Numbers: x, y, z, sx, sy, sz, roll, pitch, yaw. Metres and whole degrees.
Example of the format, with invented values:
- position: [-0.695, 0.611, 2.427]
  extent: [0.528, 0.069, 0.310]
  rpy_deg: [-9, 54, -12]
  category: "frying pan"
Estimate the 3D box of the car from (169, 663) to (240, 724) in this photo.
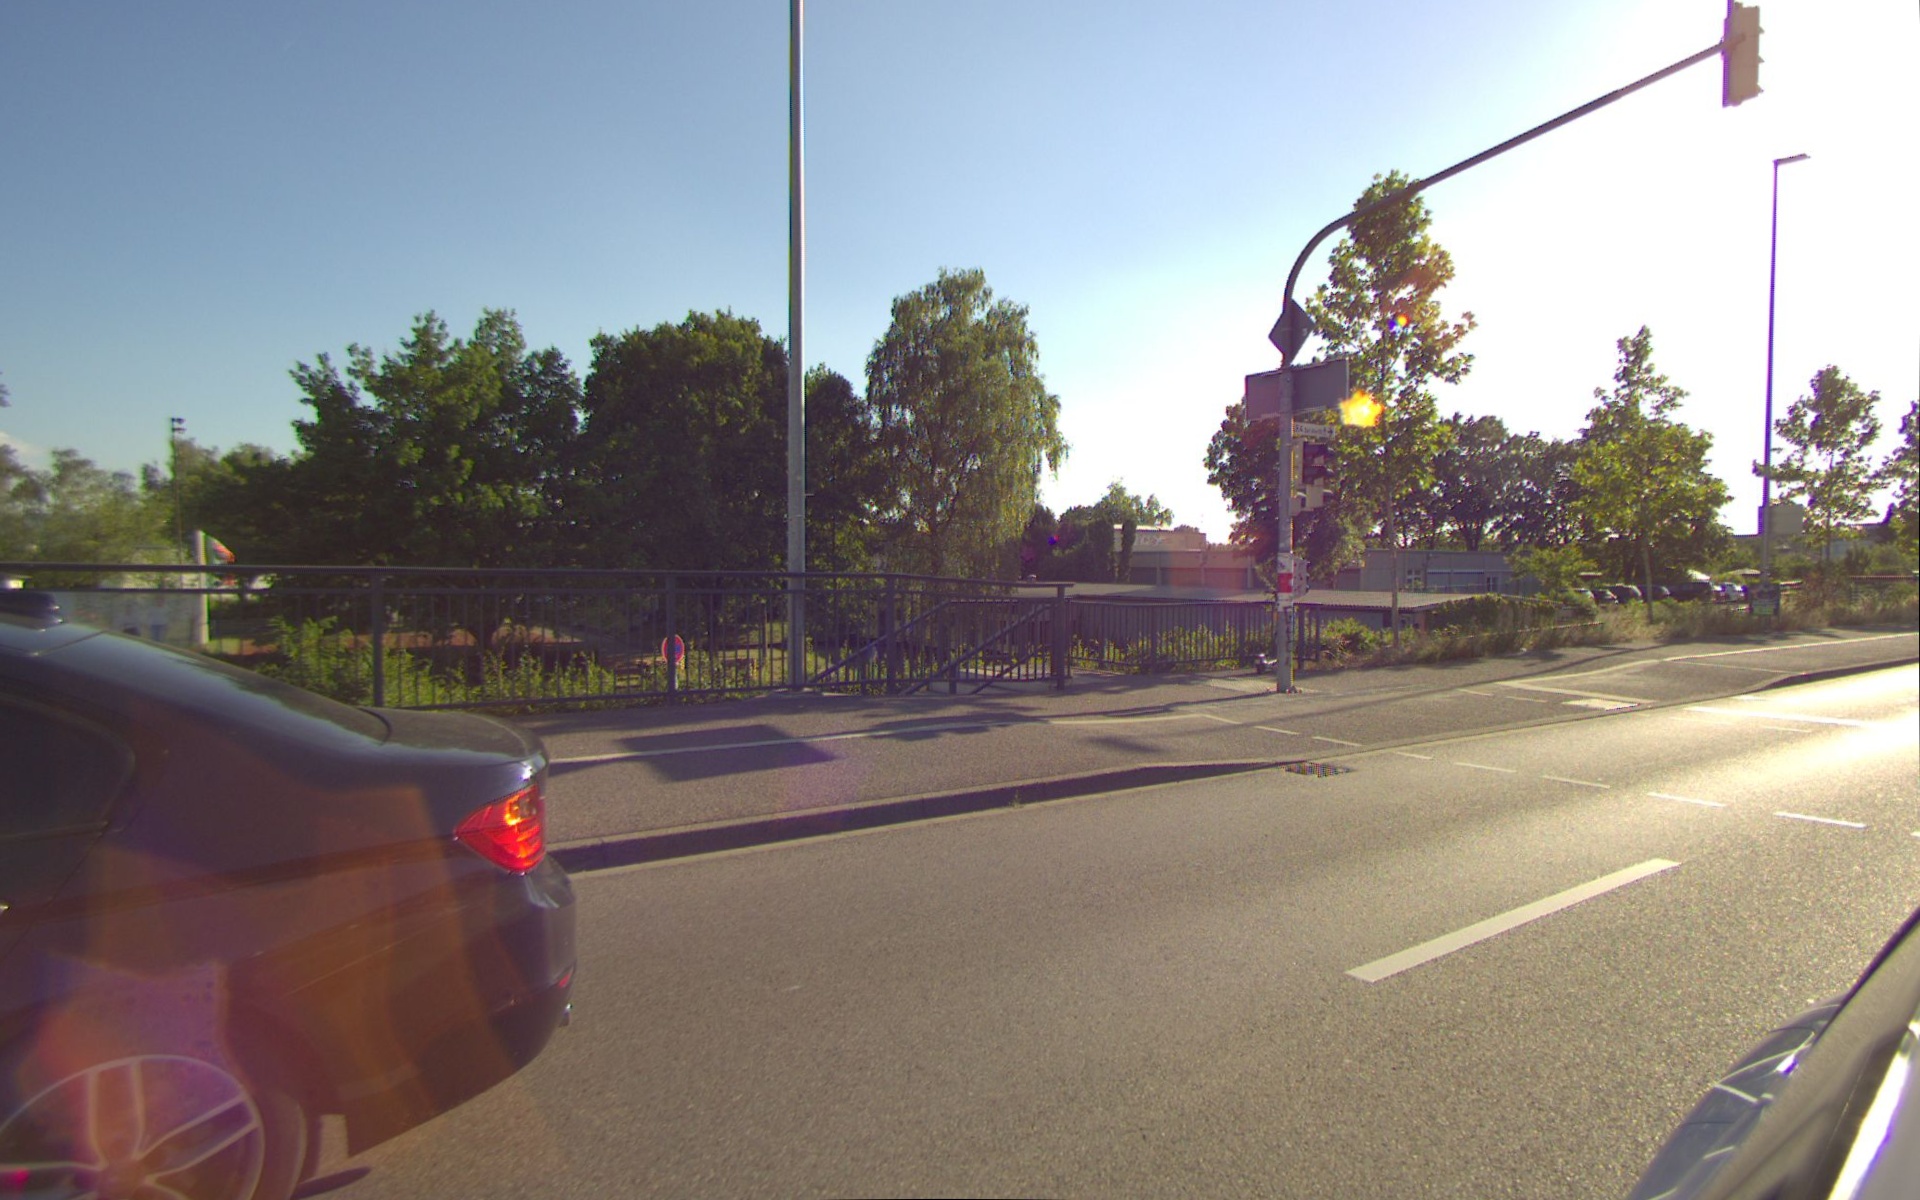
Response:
- position: [-23.384, 2.833, 31.409]
  extent: [1.648, 1.520, 3.704]
  rpy_deg: [-1, 0, -35]
  category: "car"

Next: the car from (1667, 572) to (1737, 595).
- position: [54.972, -1.214, 75.013]
  extent: [1.690, 1.606, 3.840]
  rpy_deg: [0, 0, -35]
  category: "car"

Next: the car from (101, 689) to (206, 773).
- position: [-19.015, 3.015, 23.993]
  extent: [1.718, 1.466, 3.704]
  rpy_deg: [-1, 0, -35]
  category: "car"

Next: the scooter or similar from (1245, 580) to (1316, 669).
- position: [4.758, 0.333, 15.009]
  extent: [0.523, 1.246, 1.247]
  rpy_deg: [2, 3, 42]
  category: "scooter or similar"

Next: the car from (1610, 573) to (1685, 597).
- position: [48.370, -1.045, 71.287]
  extent: [1.654, 1.606, 4.030]
  rpy_deg: [0, 0, -37]
  category: "car"

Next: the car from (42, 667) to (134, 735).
- position: [-25.569, 2.897, 29.797]
  extent: [1.660, 1.590, 3.921]
  rpy_deg: [-1, 0, -35]
  category: "car"

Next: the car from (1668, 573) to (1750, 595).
- position: [57.084, -1.185, 77.215]
  extent: [1.824, 1.589, 4.661]
  rpy_deg: [0, 0, -37]
  category: "car"

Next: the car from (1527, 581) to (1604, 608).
- position: [37.546, -0.374, 62.809]
  extent: [1.698, 1.575, 3.792]
  rpy_deg: [-4, 3, -38]
  category: "car"

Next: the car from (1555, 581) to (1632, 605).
- position: [40.421, -0.483, 64.605]
  extent: [1.709, 1.413, 3.792]
  rpy_deg: [-4, 3, -38]
  category: "car"

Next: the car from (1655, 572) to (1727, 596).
- position: [53.224, -1.159, 73.736]
  extent: [1.633, 1.661, 3.876]
  rpy_deg: [0, 0, -35]
  category: "car"

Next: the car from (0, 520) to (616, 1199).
- position: [-3.180, 0.606, 1.836]
  extent: [4.501, 1.485, 1.871]
  rpy_deg: [-1, 1, -37]
  category: "car"

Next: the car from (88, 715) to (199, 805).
- position: [-15.844, 3.046, 19.762]
  extent: [1.468, 1.232, 3.100]
  rpy_deg: [-1, 0, -35]
  category: "car"

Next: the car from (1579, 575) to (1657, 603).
- position: [42.976, -0.716, 66.122]
  extent: [1.675, 1.687, 3.919]
  rpy_deg: [-2, 1, -36]
  category: "car"
